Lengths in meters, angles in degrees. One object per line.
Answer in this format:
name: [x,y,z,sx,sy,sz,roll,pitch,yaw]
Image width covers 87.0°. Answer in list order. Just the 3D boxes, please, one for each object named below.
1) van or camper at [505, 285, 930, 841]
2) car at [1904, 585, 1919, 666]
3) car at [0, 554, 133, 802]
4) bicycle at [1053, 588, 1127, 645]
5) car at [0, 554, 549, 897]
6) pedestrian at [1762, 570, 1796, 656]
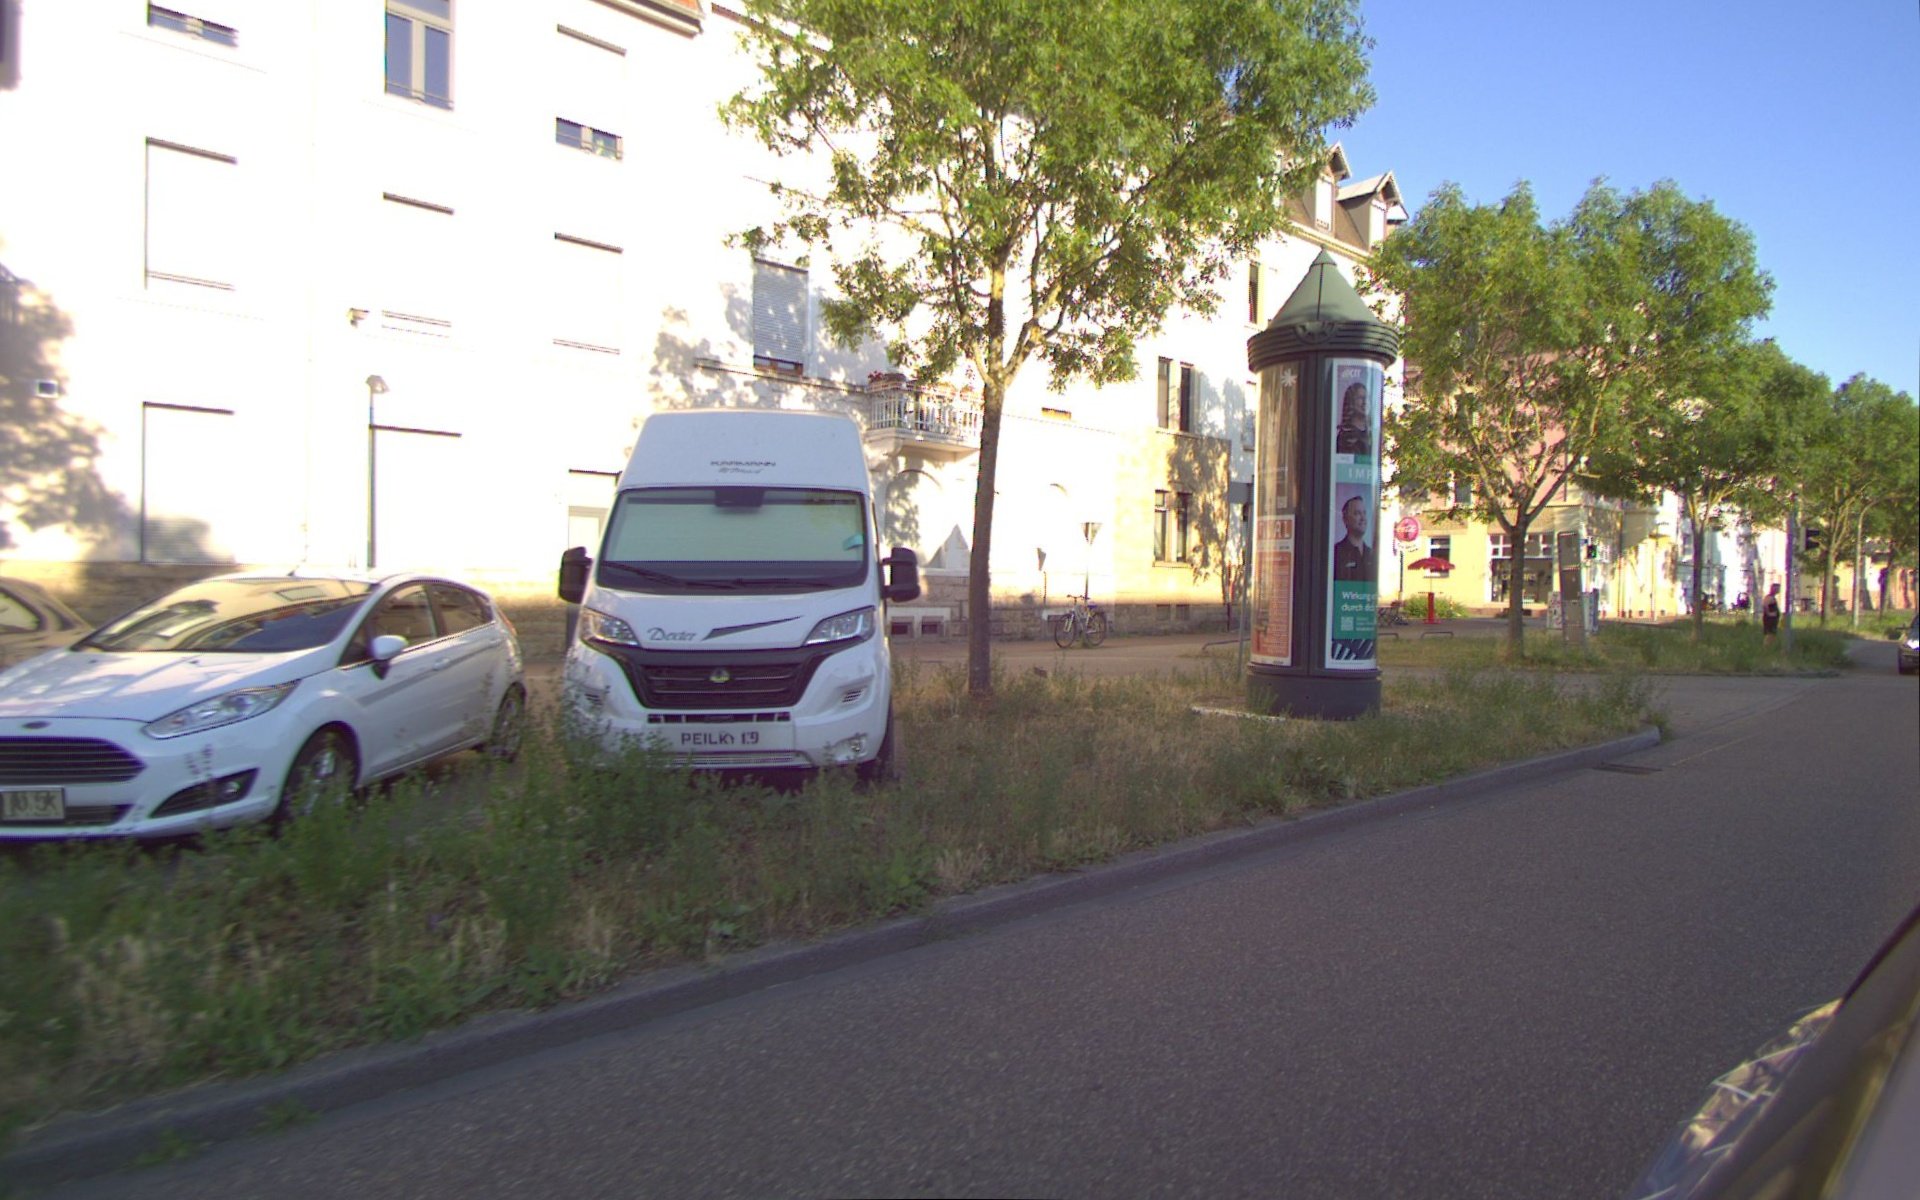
van or camper: [-1.640,-0.244,8.121,2.159,2.847,5.660,1,1,-8]
car: [22.054,0.527,21.771,3.927,1.686,1.998,0,0,-38]
car: [-6.334,0.463,4.607,1.761,1.420,4.279,1,1,-2]
bicycle: [2.763,0.327,21.437,1.693,1.102,0.612,-1,3,-44]
car: [-4.148,0.472,6.168,1.761,1.420,3.925,1,1,-1]
pedestrian: [19.627,0.298,24.255,0.588,2.039,0.513,0,1,-40]
